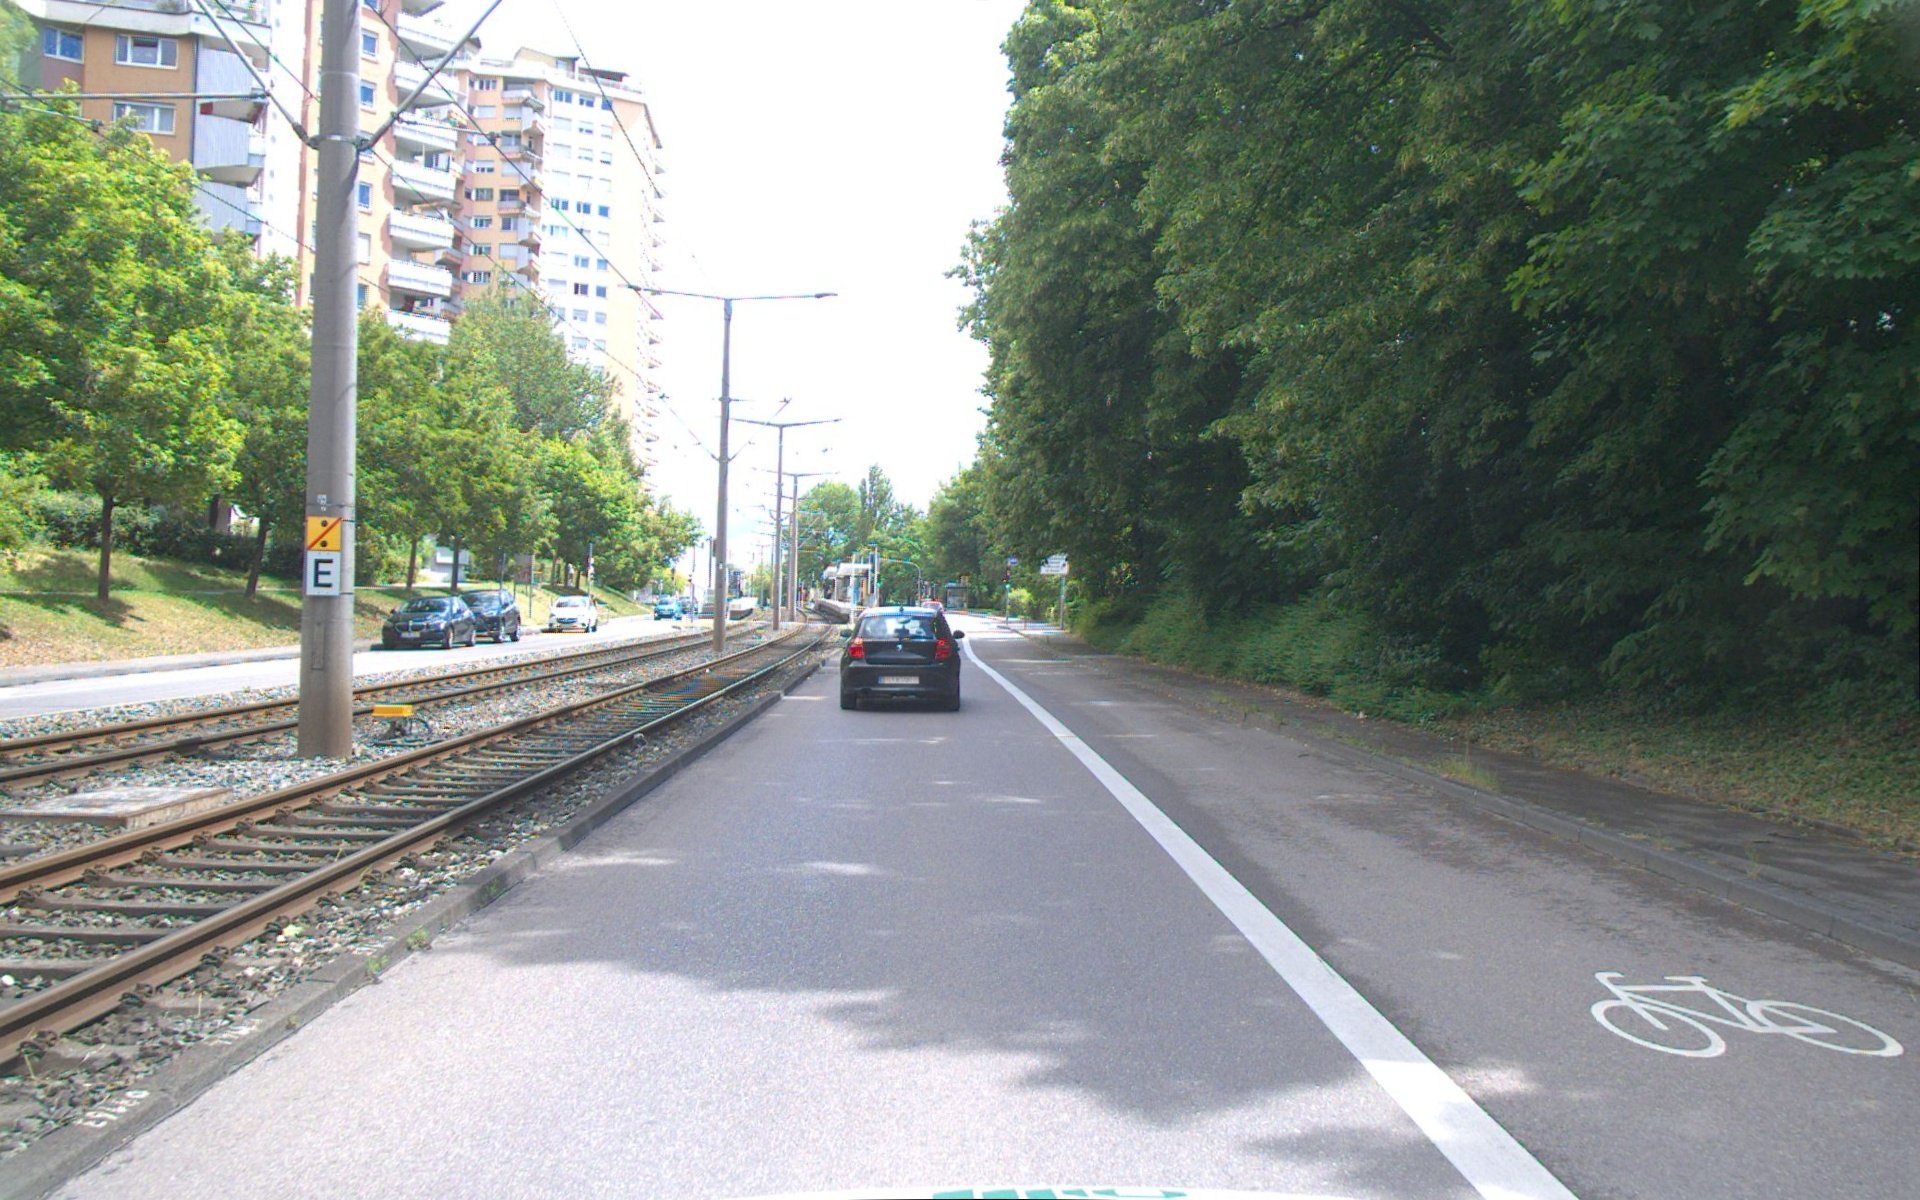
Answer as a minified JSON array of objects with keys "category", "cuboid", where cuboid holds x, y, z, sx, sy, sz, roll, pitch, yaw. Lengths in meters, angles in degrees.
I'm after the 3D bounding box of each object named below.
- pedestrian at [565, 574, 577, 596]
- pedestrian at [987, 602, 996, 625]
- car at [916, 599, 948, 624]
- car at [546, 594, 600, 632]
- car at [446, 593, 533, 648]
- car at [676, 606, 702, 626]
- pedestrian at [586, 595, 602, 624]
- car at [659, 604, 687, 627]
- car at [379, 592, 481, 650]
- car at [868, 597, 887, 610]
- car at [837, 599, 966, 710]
[{"category":"pedestrian","cuboid":[-28.346,-1.106,120.554,0.620,1.561,0.635,0,0,16]},{"category":"pedestrian","cuboid":[2.825,1.182,148.631,0.725,2.049,0.681,1,-1,0]},{"category":"car","cuboid":[-1.746,0.709,101.611,1.746,1.485,3.917,1,0,-5]},{"category":"car","cuboid":[-16.255,0.541,69.619,1.747,1.559,4.238,0,0,-6]},{"category":"car","cuboid":[-14.863,0.649,52.476,1.739,1.658,4.379,0,-1,-3]},{"category":"car","cuboid":[-21.420,1.250,130.787,1.682,1.591,3.693,1,0,-5]},{"category":"pedestrian","cuboid":[-19.881,0.515,89.850,0.756,1.561,0.713,0,0,-20]},{"category":"car","cuboid":[-18.880,0.998,108.797,1.685,1.467,3.931,1,0,-12]},{"category":"car","cuboid":[-14.637,0.556,45.887,1.739,1.525,3.994,1,0,-3]},{"category":"car","cuboid":[-9.538,0.439,190.848,1.873,1.485,3.996,1,0,-6]},{"category":"car","cuboid":[-0.886,0.743,24.316,1.746,1.485,3.918,0,0,-3]}]
